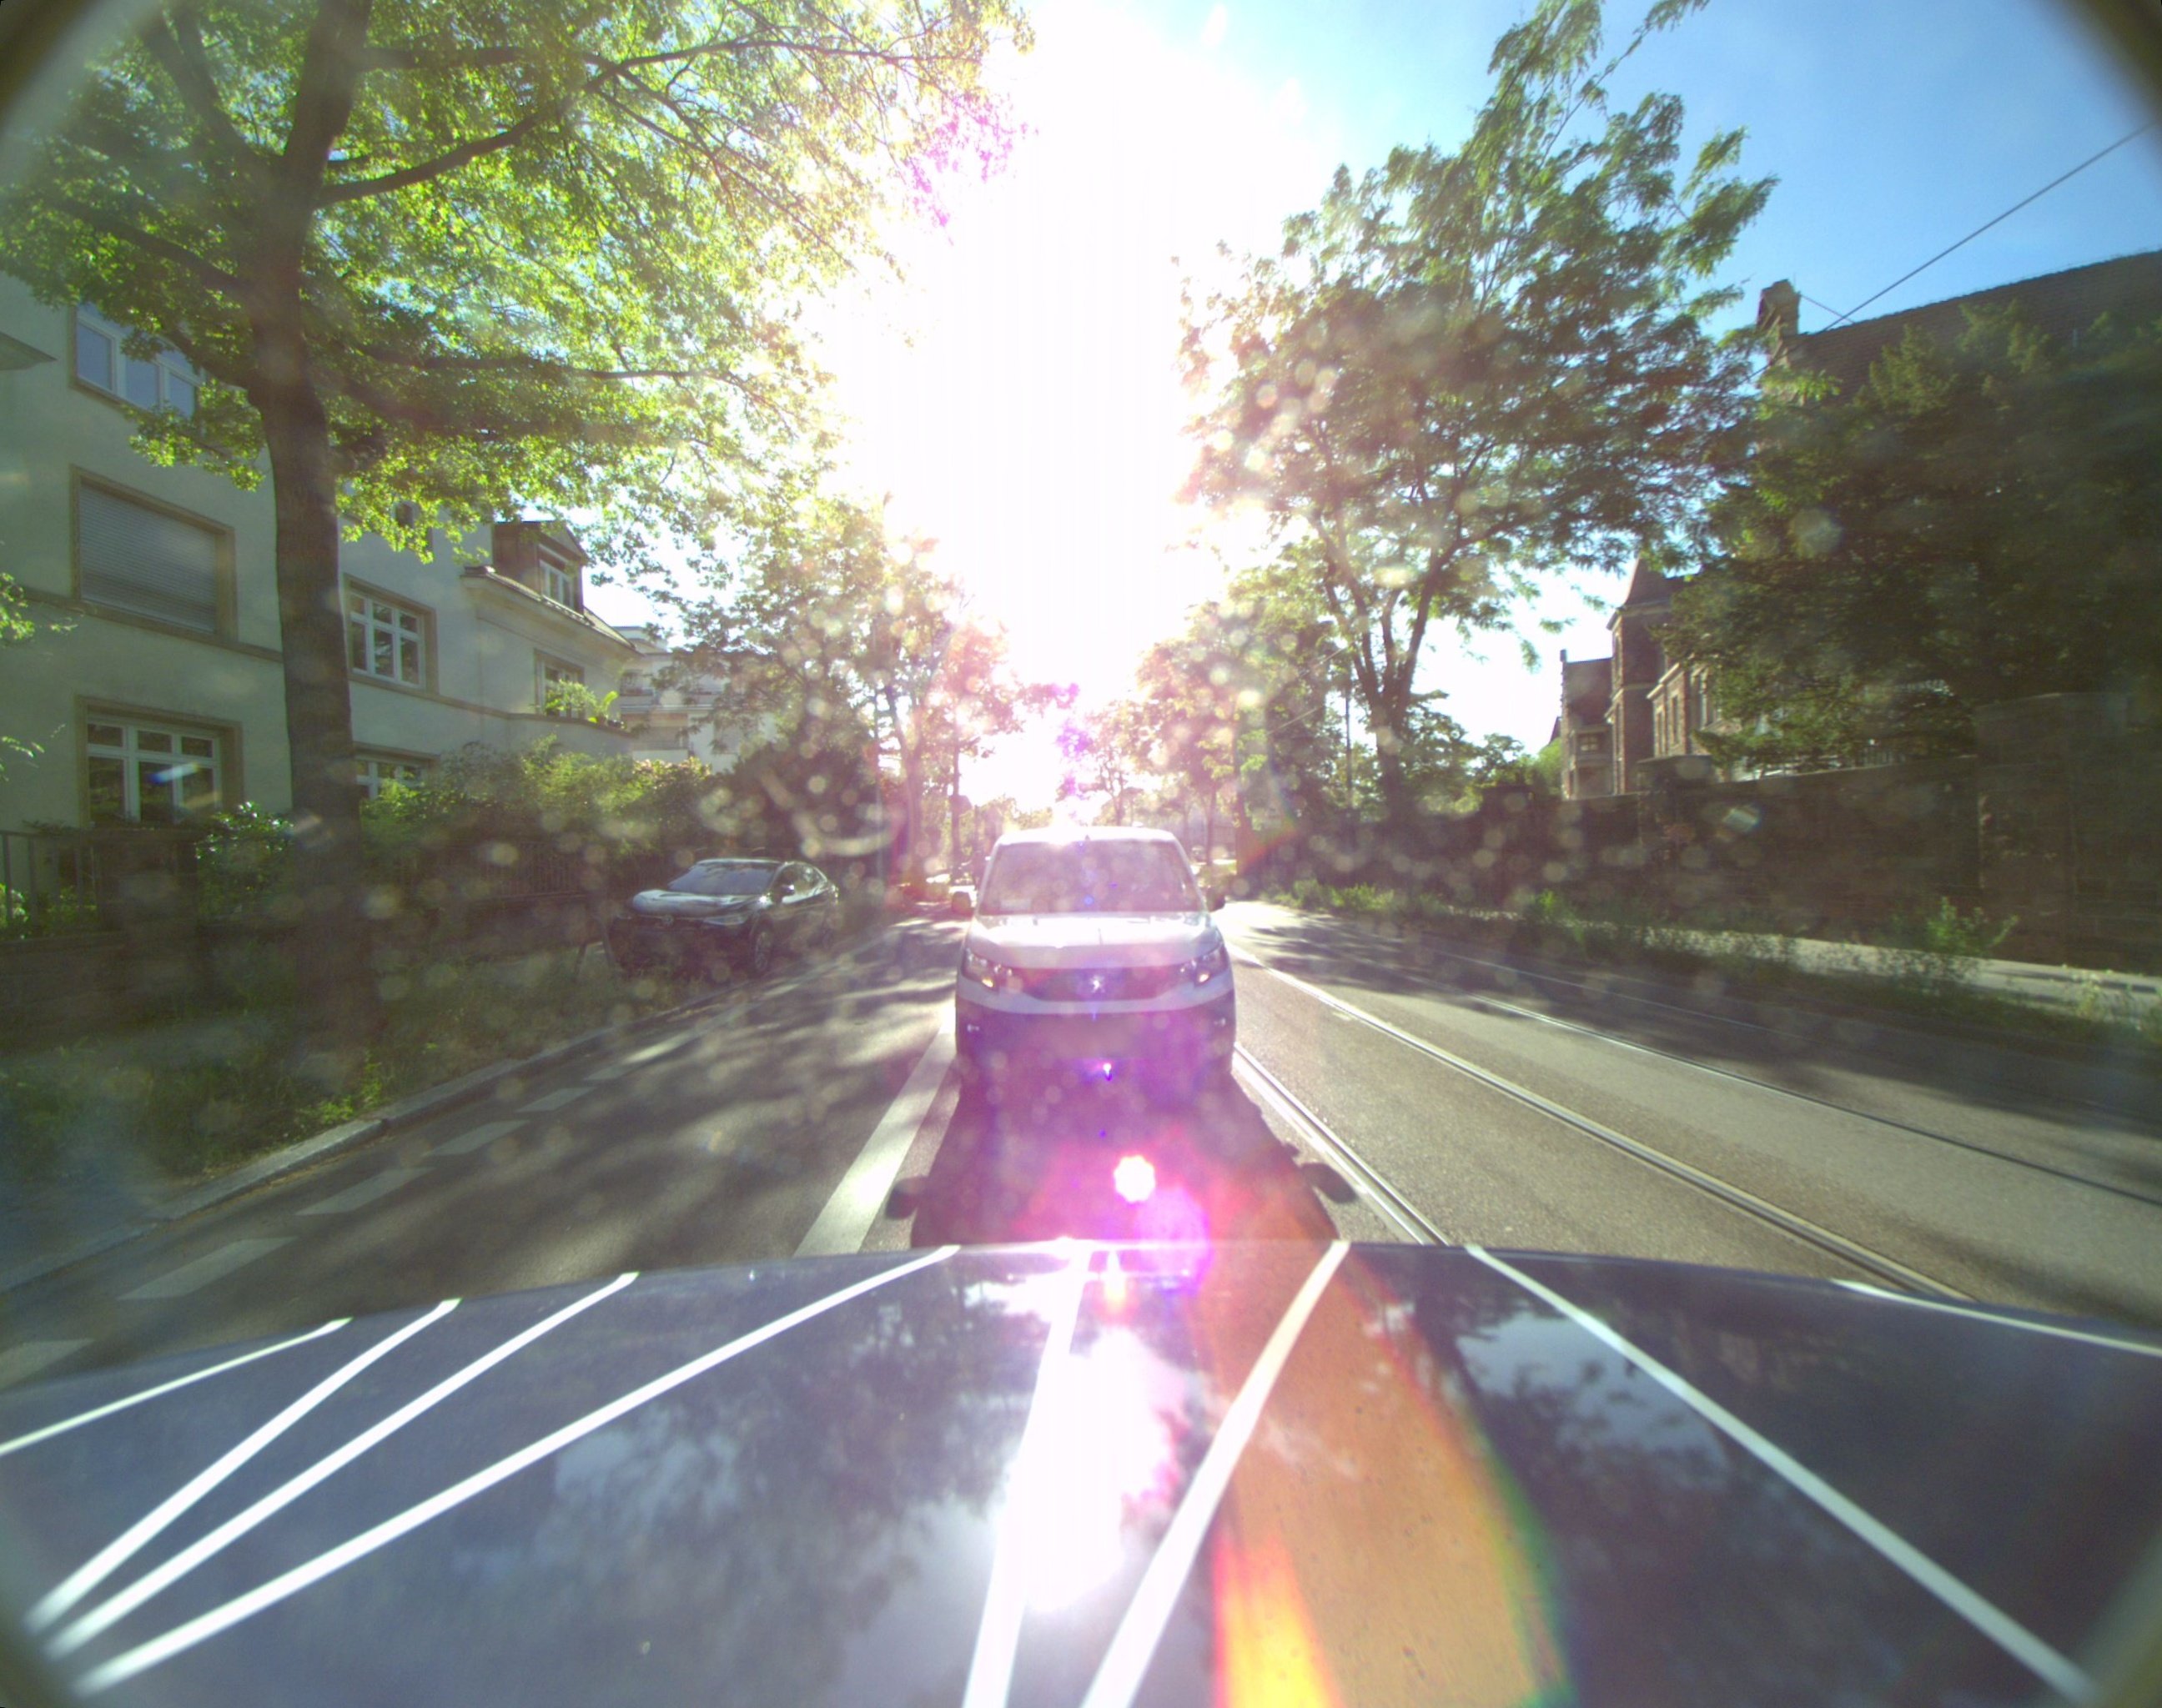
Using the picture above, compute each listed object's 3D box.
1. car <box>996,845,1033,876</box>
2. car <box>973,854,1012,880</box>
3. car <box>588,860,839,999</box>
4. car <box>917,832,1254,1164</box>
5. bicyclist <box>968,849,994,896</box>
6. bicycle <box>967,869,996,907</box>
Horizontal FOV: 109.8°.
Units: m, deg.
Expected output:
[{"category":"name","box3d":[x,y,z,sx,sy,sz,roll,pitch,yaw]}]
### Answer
[{"category":"car","box3d":[-4.505,0.426,51.934,1.998,2.002,4.583,-2,0,1]},{"category":"car","box3d":[-5.256,0.748,45.468,1.787,1.443,4.000,-2,0,1]},{"category":"car","box3d":[-5.161,0.942,11.372,1.743,1.597,4.091,2,0,0]},{"category":"car","box3d":[0.045,0.782,6.540,1.793,1.770,4.786,-2,0,0]},{"category":"bicyclist","box3d":[-3.273,0.587,24.919,0.645,1.479,1.115,-2,1,1]},{"category":"bicycle","box3d":[-3.255,1.097,24.904,0.644,1.137,1.902,-1,0,1]}]
